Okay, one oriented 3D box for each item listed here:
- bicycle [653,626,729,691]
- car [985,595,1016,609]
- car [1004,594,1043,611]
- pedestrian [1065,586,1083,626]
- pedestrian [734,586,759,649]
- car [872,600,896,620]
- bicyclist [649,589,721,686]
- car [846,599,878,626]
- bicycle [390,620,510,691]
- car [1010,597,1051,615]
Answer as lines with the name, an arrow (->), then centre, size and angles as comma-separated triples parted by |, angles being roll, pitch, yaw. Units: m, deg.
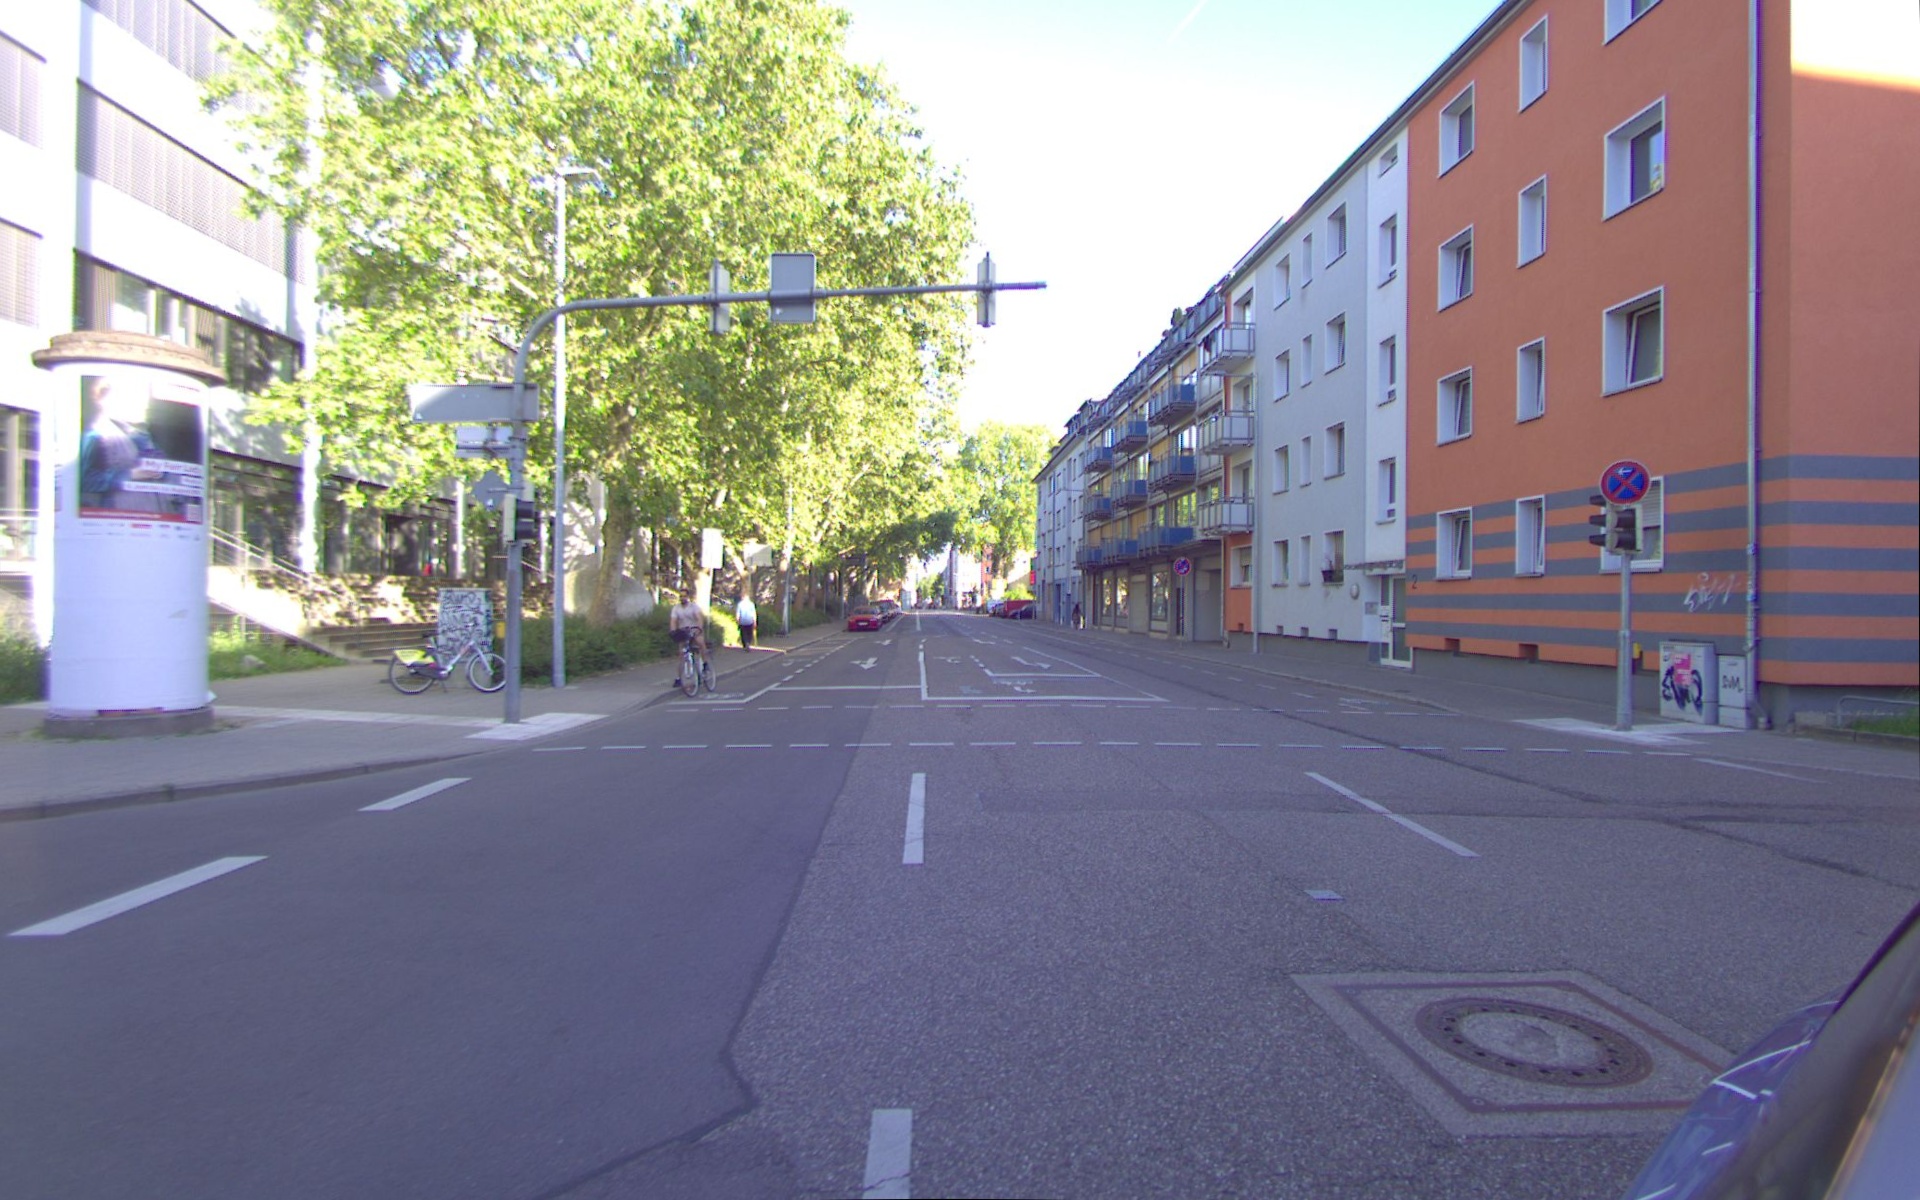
bicycle -> -4.775, 1.014, 18.107 | 0.691, 1.080, 1.925 | 0, -2, 5
car -> 5.293, 0.216, 131.459 | 3.924, 1.721, 1.833 | 1, 0, 0
car -> 6.689, 0.233, 106.399 | 3.924, 1.721, 1.833 | 1, 0, 0
pedestrian -> 6.955, 0.359, 61.774 | 0.896, 2.427, 1.088 | 1, -1, -3
pedestrian -> -6.410, 0.515, 30.402 | 0.657, 1.818, 0.667 | -2, 2, -8
car -> -5.932, 0.771, 79.470 | 1.753, 1.548, 4.659 | 0, 0, -3
bicyclist -> -4.842, 0.636, 17.887 | 0.933, 1.661, 1.006 | 0, 0, 5
car -> -5.727, 0.716, 59.544 | 1.752, 1.548, 4.660 | 0, 0, -4
bicycle -> -7.906, 0.863, 15.726 | 1.602, 1.011, 0.623 | 2, 1, -28
car -> 7.041, 0.586, 101.023 | 3.924, 1.721, 1.833 | 1, 0, 0
